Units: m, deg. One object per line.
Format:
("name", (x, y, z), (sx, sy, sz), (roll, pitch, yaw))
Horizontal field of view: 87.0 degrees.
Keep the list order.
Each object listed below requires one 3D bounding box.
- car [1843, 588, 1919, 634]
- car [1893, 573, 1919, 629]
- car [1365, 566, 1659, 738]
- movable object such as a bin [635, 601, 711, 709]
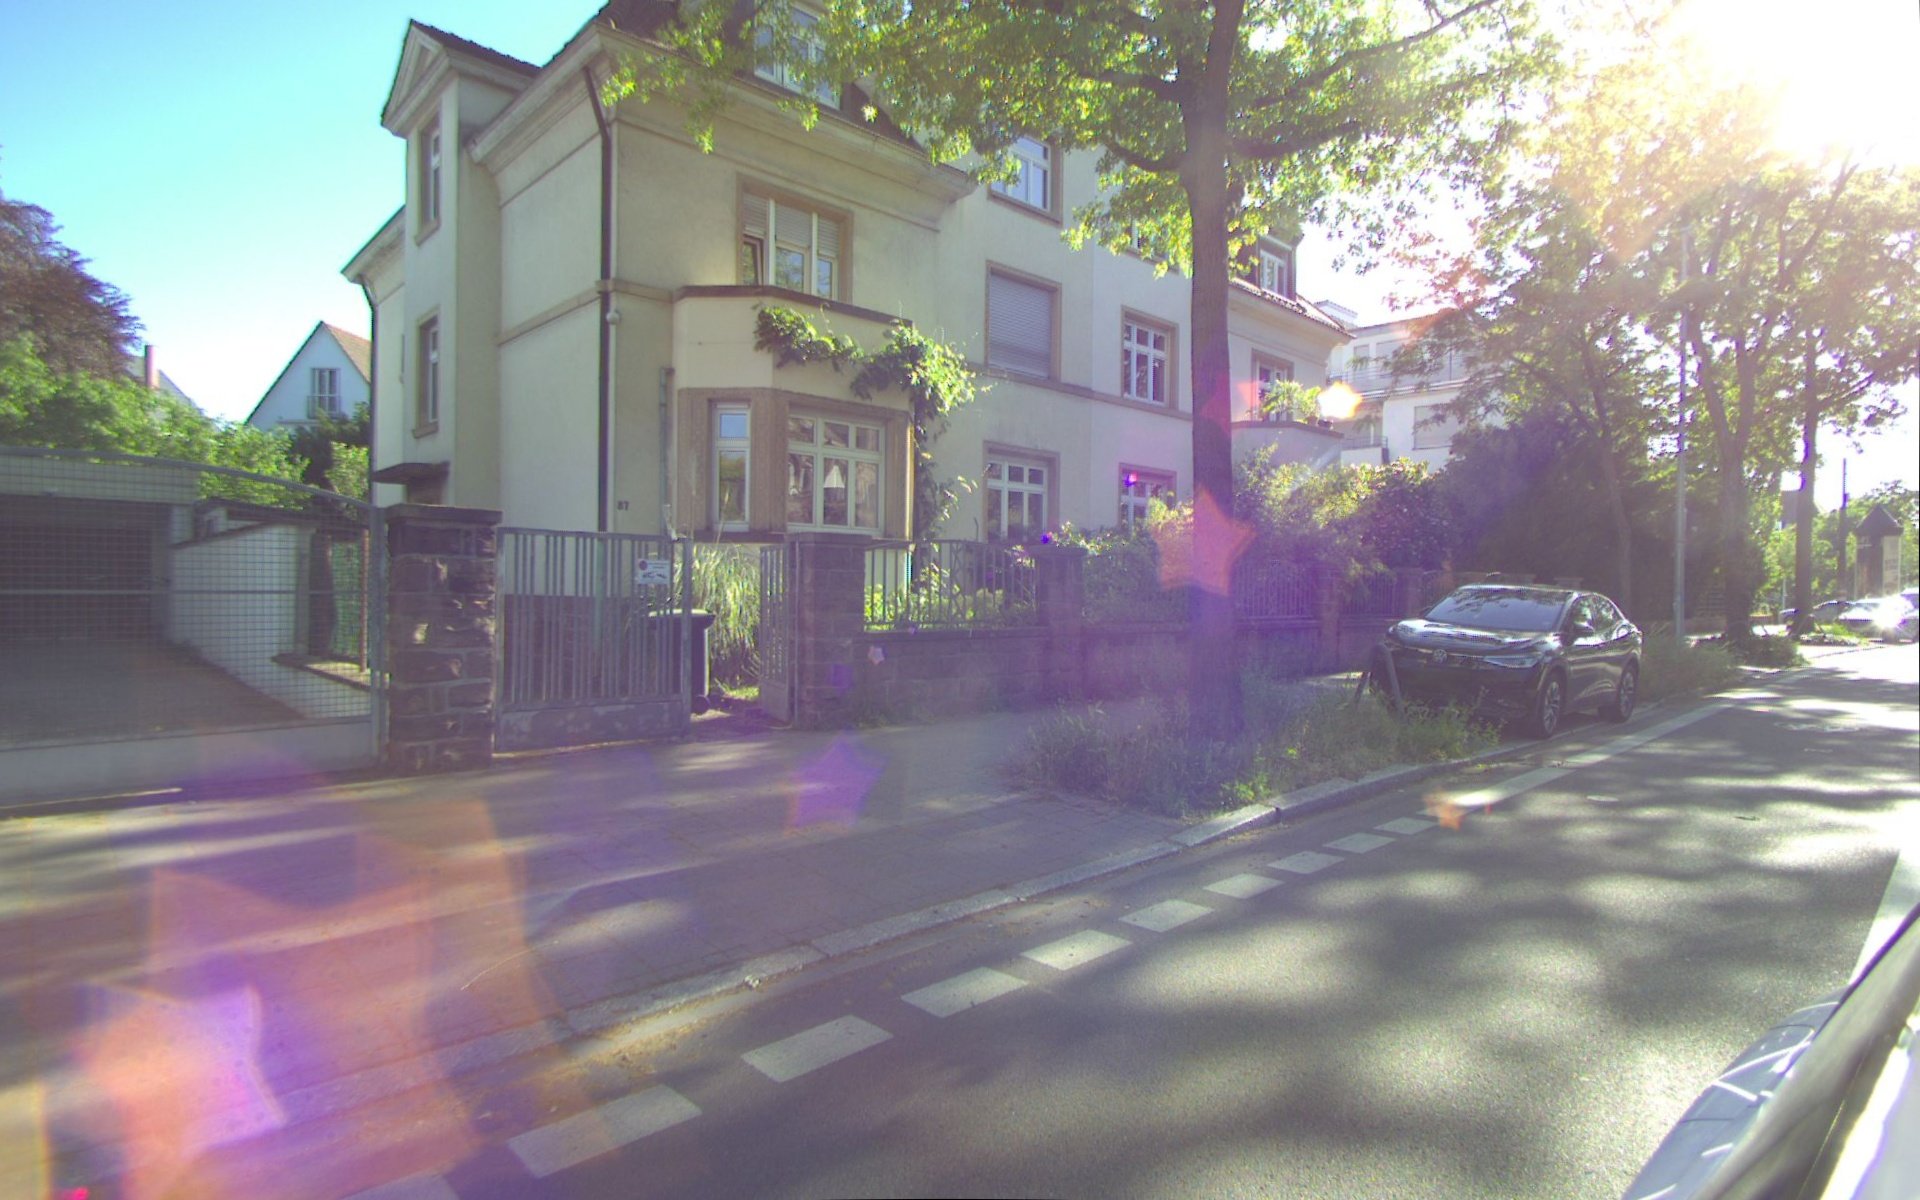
("car", (31.559, 0.334, 34.425), (3.930, 1.469, 1.785), (0, 1, -41))
("car", (36.794, 0.046, 38.086), (4.503, 2.039, 1.997), (0, 1, -41))
("car", (6.685, 0.492, 12.082), (4.021, 1.626, 1.743), (0, 4, -42))
("movable object such as a bin", (-3.081, 0.558, 10.821), (0.697, 1.070, 1.093), (0, 0, -20))
